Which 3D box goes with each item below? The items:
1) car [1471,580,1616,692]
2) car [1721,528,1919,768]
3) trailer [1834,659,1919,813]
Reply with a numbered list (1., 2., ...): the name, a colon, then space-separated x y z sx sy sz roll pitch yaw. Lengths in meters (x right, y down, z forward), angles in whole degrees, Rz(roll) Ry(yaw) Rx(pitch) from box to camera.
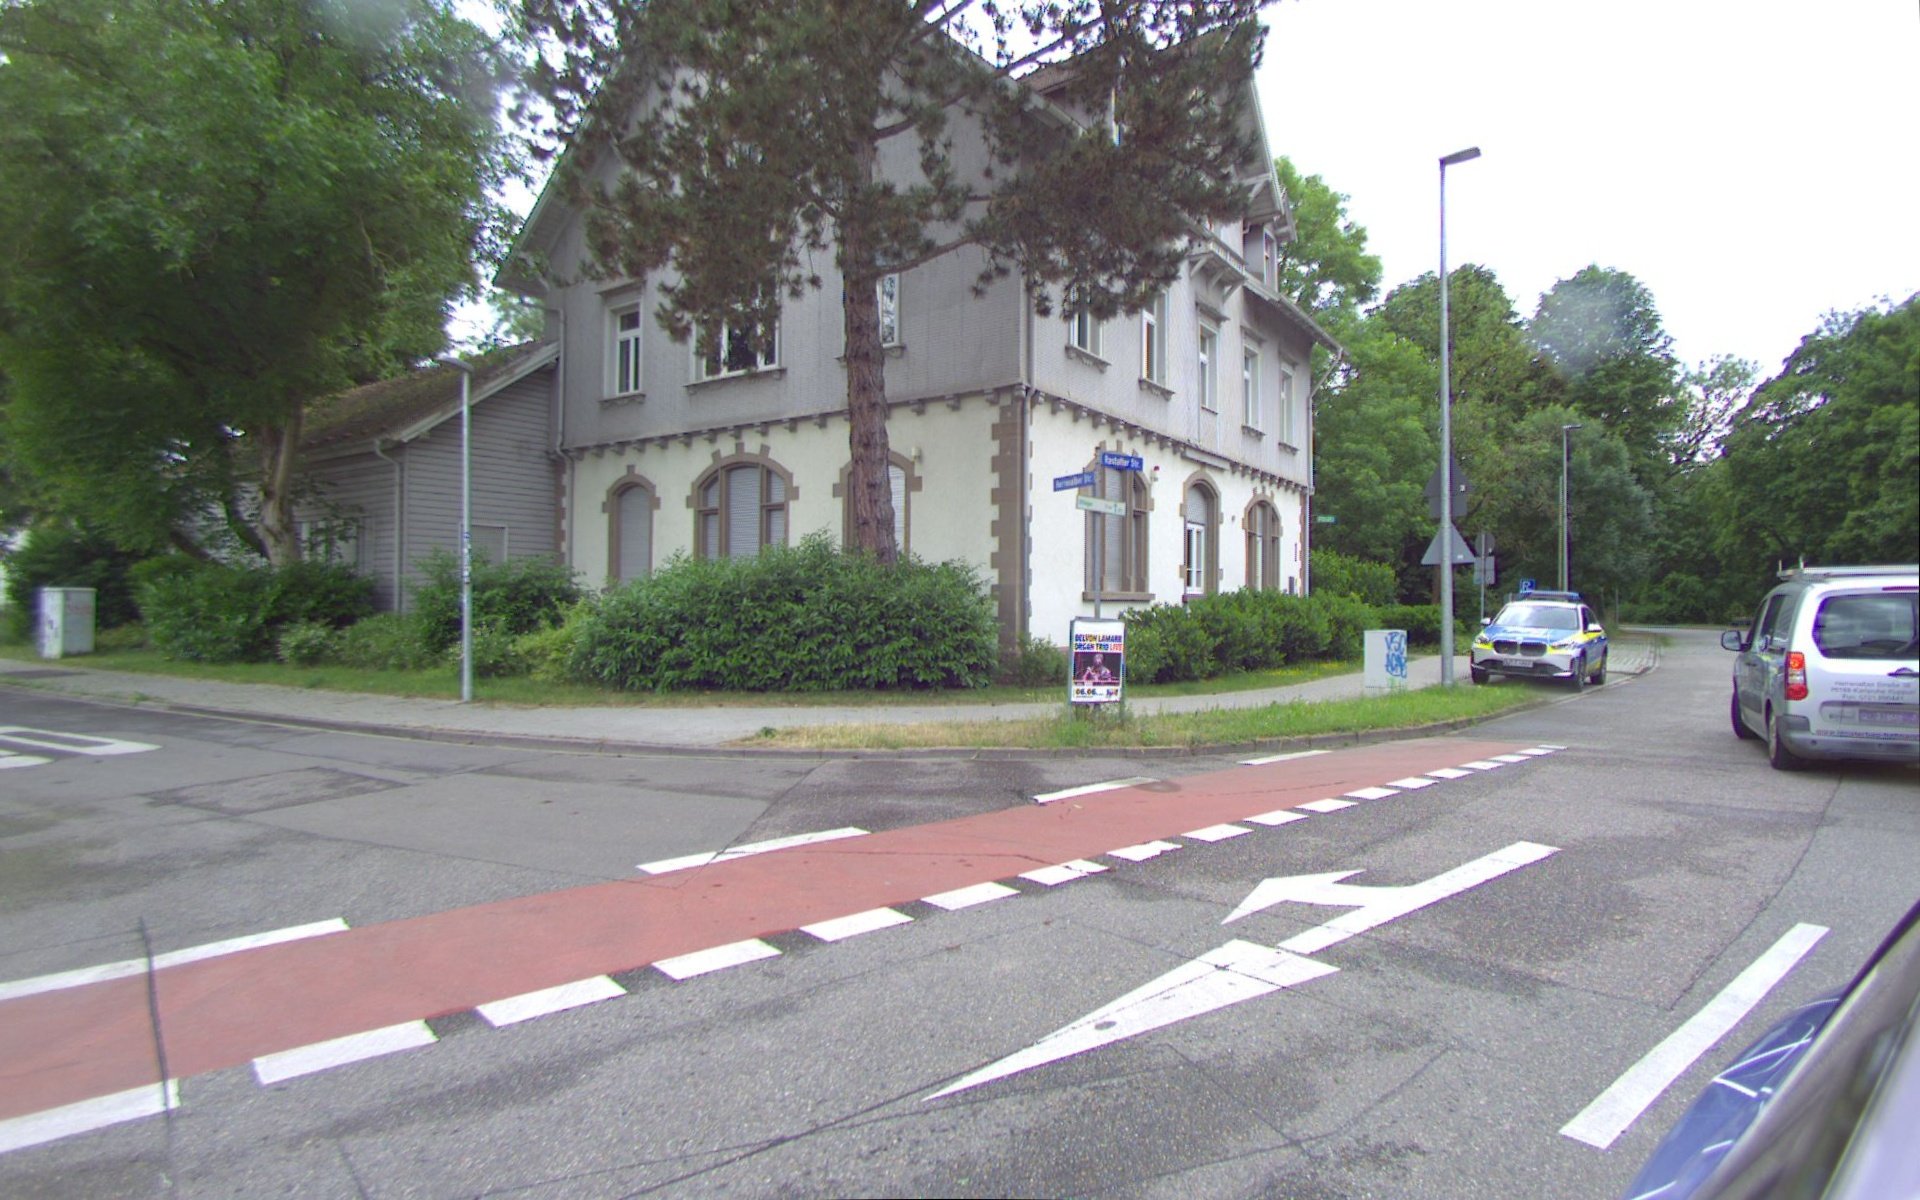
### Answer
1. car: 11.304 0.610 19.489 1.926 1.873 3.947 3 1 37
2. car: 8.817 0.365 9.587 2.078 1.881 4.176 0 0 30
3. trailer: 7.271 0.975 5.939 1.545 0.998 3.459 0 1 7
